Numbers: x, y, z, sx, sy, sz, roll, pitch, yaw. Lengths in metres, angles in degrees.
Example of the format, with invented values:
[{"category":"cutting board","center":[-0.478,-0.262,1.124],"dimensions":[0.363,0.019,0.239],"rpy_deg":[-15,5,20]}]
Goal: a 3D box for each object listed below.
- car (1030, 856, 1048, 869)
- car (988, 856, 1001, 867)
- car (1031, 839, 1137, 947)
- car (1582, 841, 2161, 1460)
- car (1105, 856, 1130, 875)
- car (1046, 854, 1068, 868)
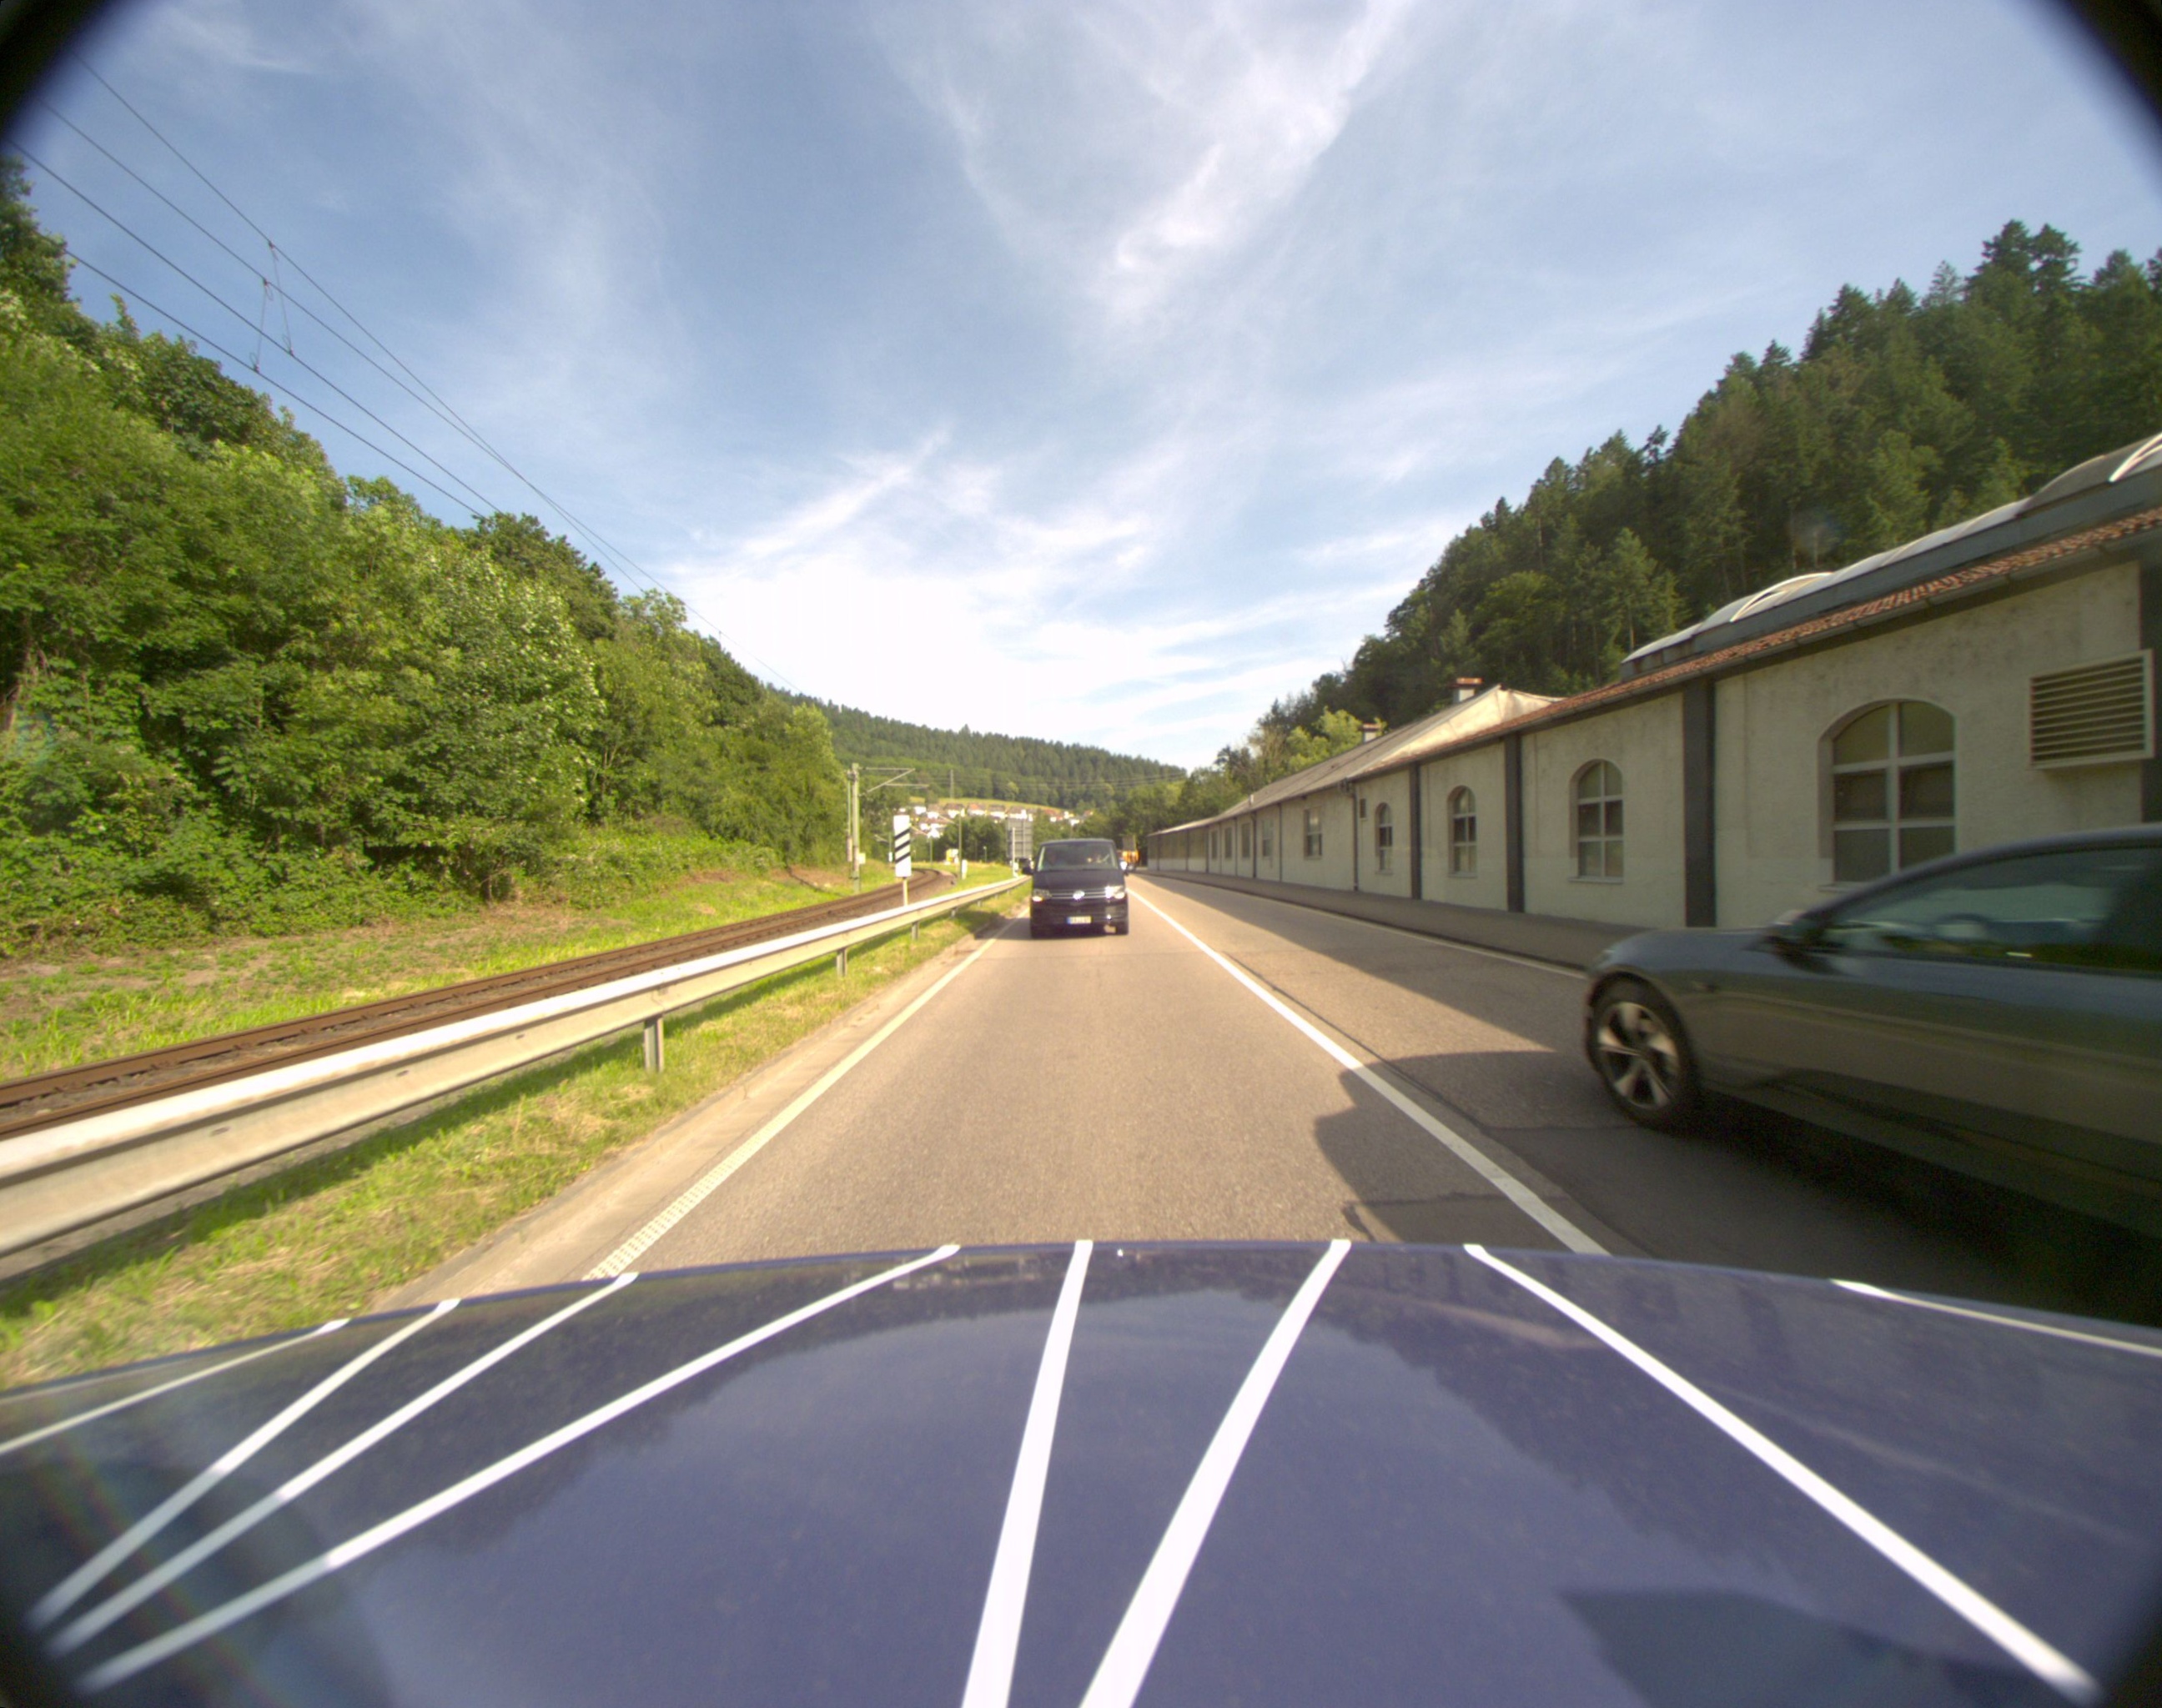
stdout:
[{"category":"car","center":[-5.640,1.113,100.965],"dimensions":[1.874,1.583,4.048],"rpy_deg":[-3,0,-10]},{"category":"car","center":[-17.616,1.537,154.543],"dimensions":[2.001,2.002,3.994],"rpy_deg":[-2,1,-16]},{"category":"car","center":[-0.048,0.721,16.475],"dimensions":[1.901,1.927,5.187],"rpy_deg":[-2,0,-2]},{"category":"car","center":[3.795,0.775,2.056],"dimensions":[1.934,1.572,4.458],"rpy_deg":[-3,0,1]},{"category":"car","center":[2.816,0.856,59.659],"dimensions":[1.744,1.384,4.109],"rpy_deg":[-2,0,0]},{"category":"car","center":[-2.745,0.832,87.013],"dimensions":[1.874,1.583,4.049],"rpy_deg":[-1,-1,-10]}]
